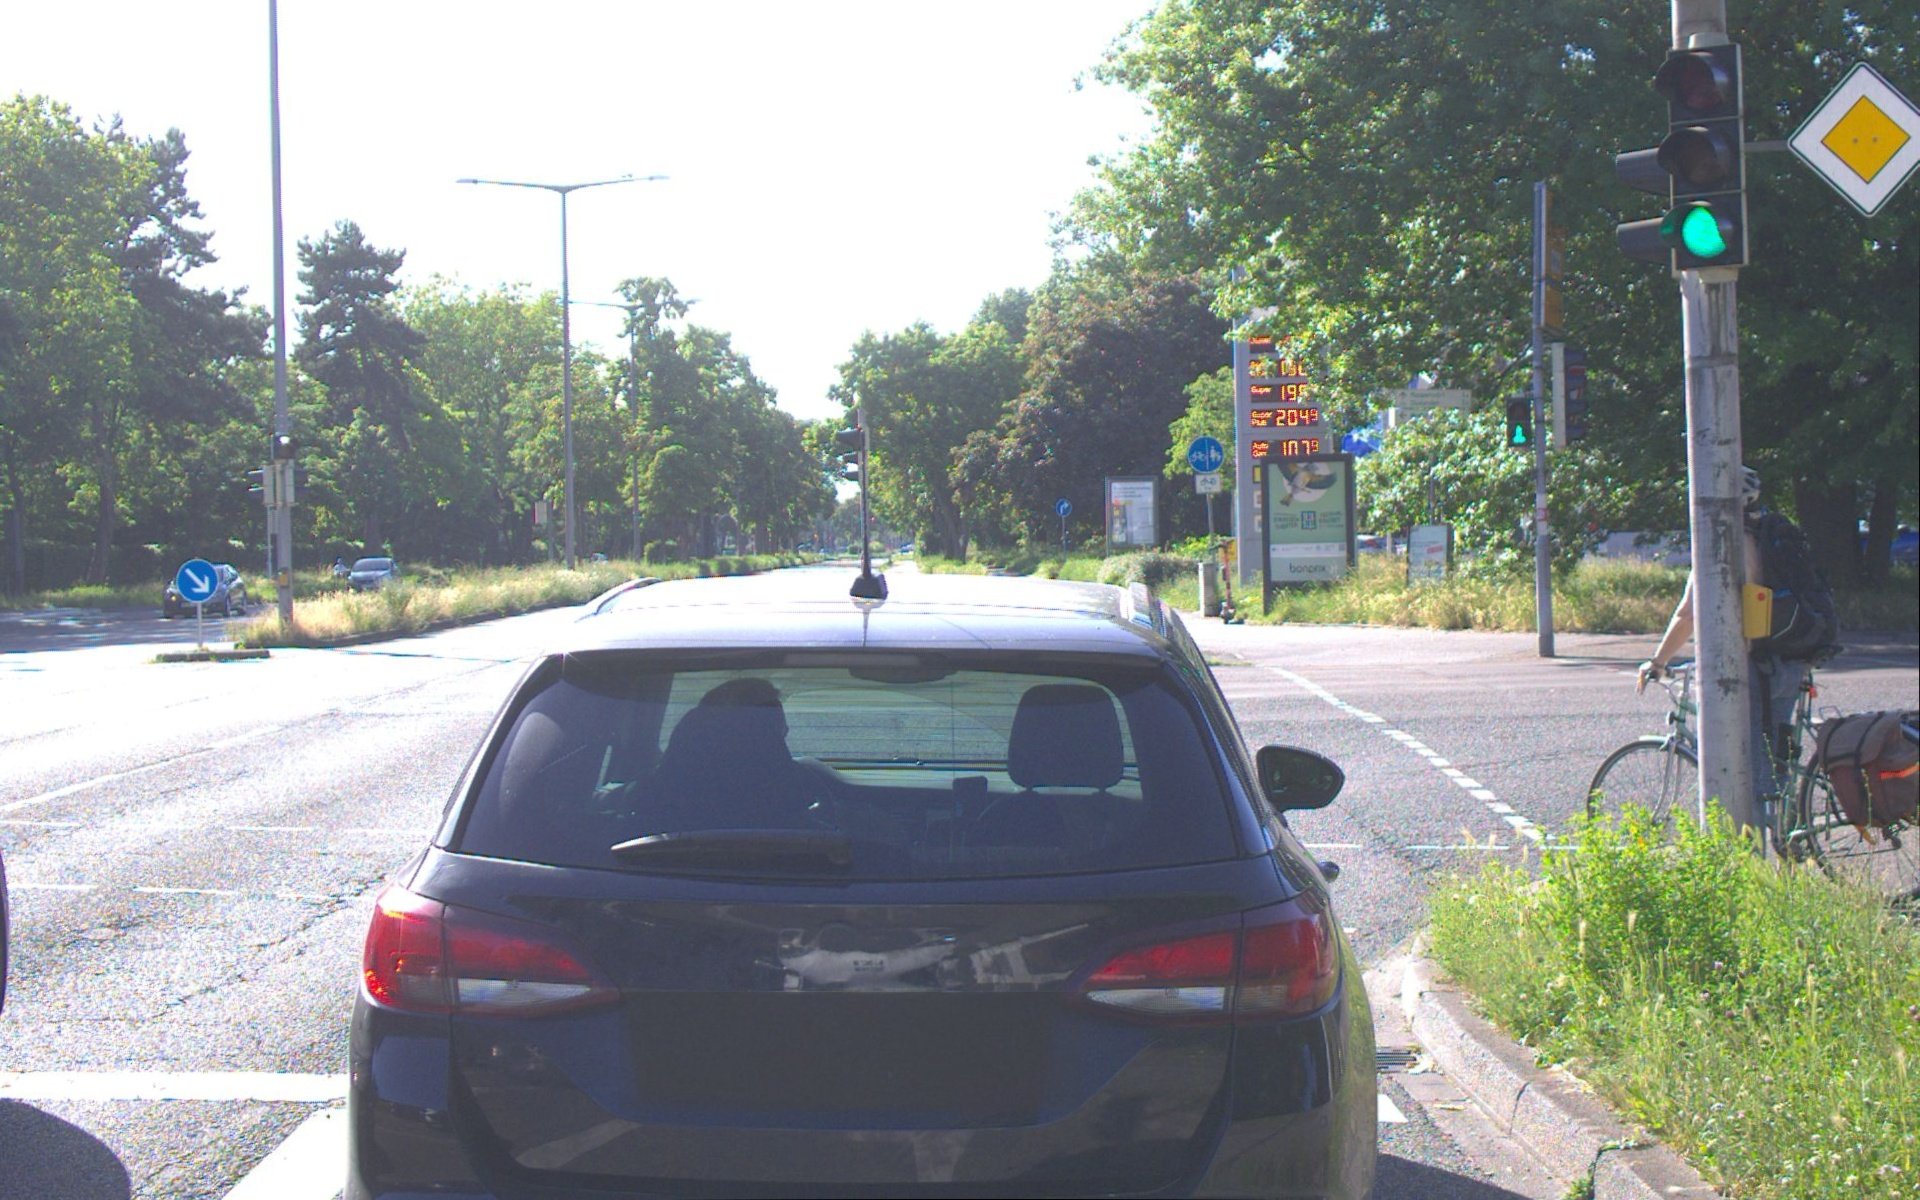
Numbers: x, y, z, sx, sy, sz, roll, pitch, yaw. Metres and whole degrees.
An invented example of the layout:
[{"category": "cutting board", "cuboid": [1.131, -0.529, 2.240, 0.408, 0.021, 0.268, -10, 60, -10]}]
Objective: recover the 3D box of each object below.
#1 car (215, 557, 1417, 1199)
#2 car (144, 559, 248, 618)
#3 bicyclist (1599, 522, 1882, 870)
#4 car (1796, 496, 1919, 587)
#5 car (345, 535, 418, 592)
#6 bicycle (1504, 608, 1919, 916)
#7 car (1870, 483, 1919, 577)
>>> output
[{"category": "car", "cuboid": [-0.234, 0.667, 7.143, 1.756, 1.490, 4.207, 0, 0, -1]}, {"category": "car", "cuboid": [-21.042, -0.332, 94.811, 1.993, 1.525, 4.000, -2, 1, -1]}, {"category": "bicyclist", "cuboid": [2.978, 0.366, 13.137, 0.536, 1.273, 0.829, -3, -1, -44]}, {"category": "car", "cuboid": [16.647, -1.038, 59.606, 3.887, 1.512, 1.746, -2, 1, -23]}, {"category": "car", "cuboid": [-21.309, -1.344, 126.756, 1.993, 2.007, 4.000, -2, 1, -1]}, {"category": "bicycle", "cuboid": [2.986, 0.612, 13.138, 0.536, 1.094, 1.775, -3, -1, -44]}, {"category": "car", "cuboid": [17.121, -1.192, 56.521, 3.887, 1.512, 1.746, -2, 1, -23]}]
